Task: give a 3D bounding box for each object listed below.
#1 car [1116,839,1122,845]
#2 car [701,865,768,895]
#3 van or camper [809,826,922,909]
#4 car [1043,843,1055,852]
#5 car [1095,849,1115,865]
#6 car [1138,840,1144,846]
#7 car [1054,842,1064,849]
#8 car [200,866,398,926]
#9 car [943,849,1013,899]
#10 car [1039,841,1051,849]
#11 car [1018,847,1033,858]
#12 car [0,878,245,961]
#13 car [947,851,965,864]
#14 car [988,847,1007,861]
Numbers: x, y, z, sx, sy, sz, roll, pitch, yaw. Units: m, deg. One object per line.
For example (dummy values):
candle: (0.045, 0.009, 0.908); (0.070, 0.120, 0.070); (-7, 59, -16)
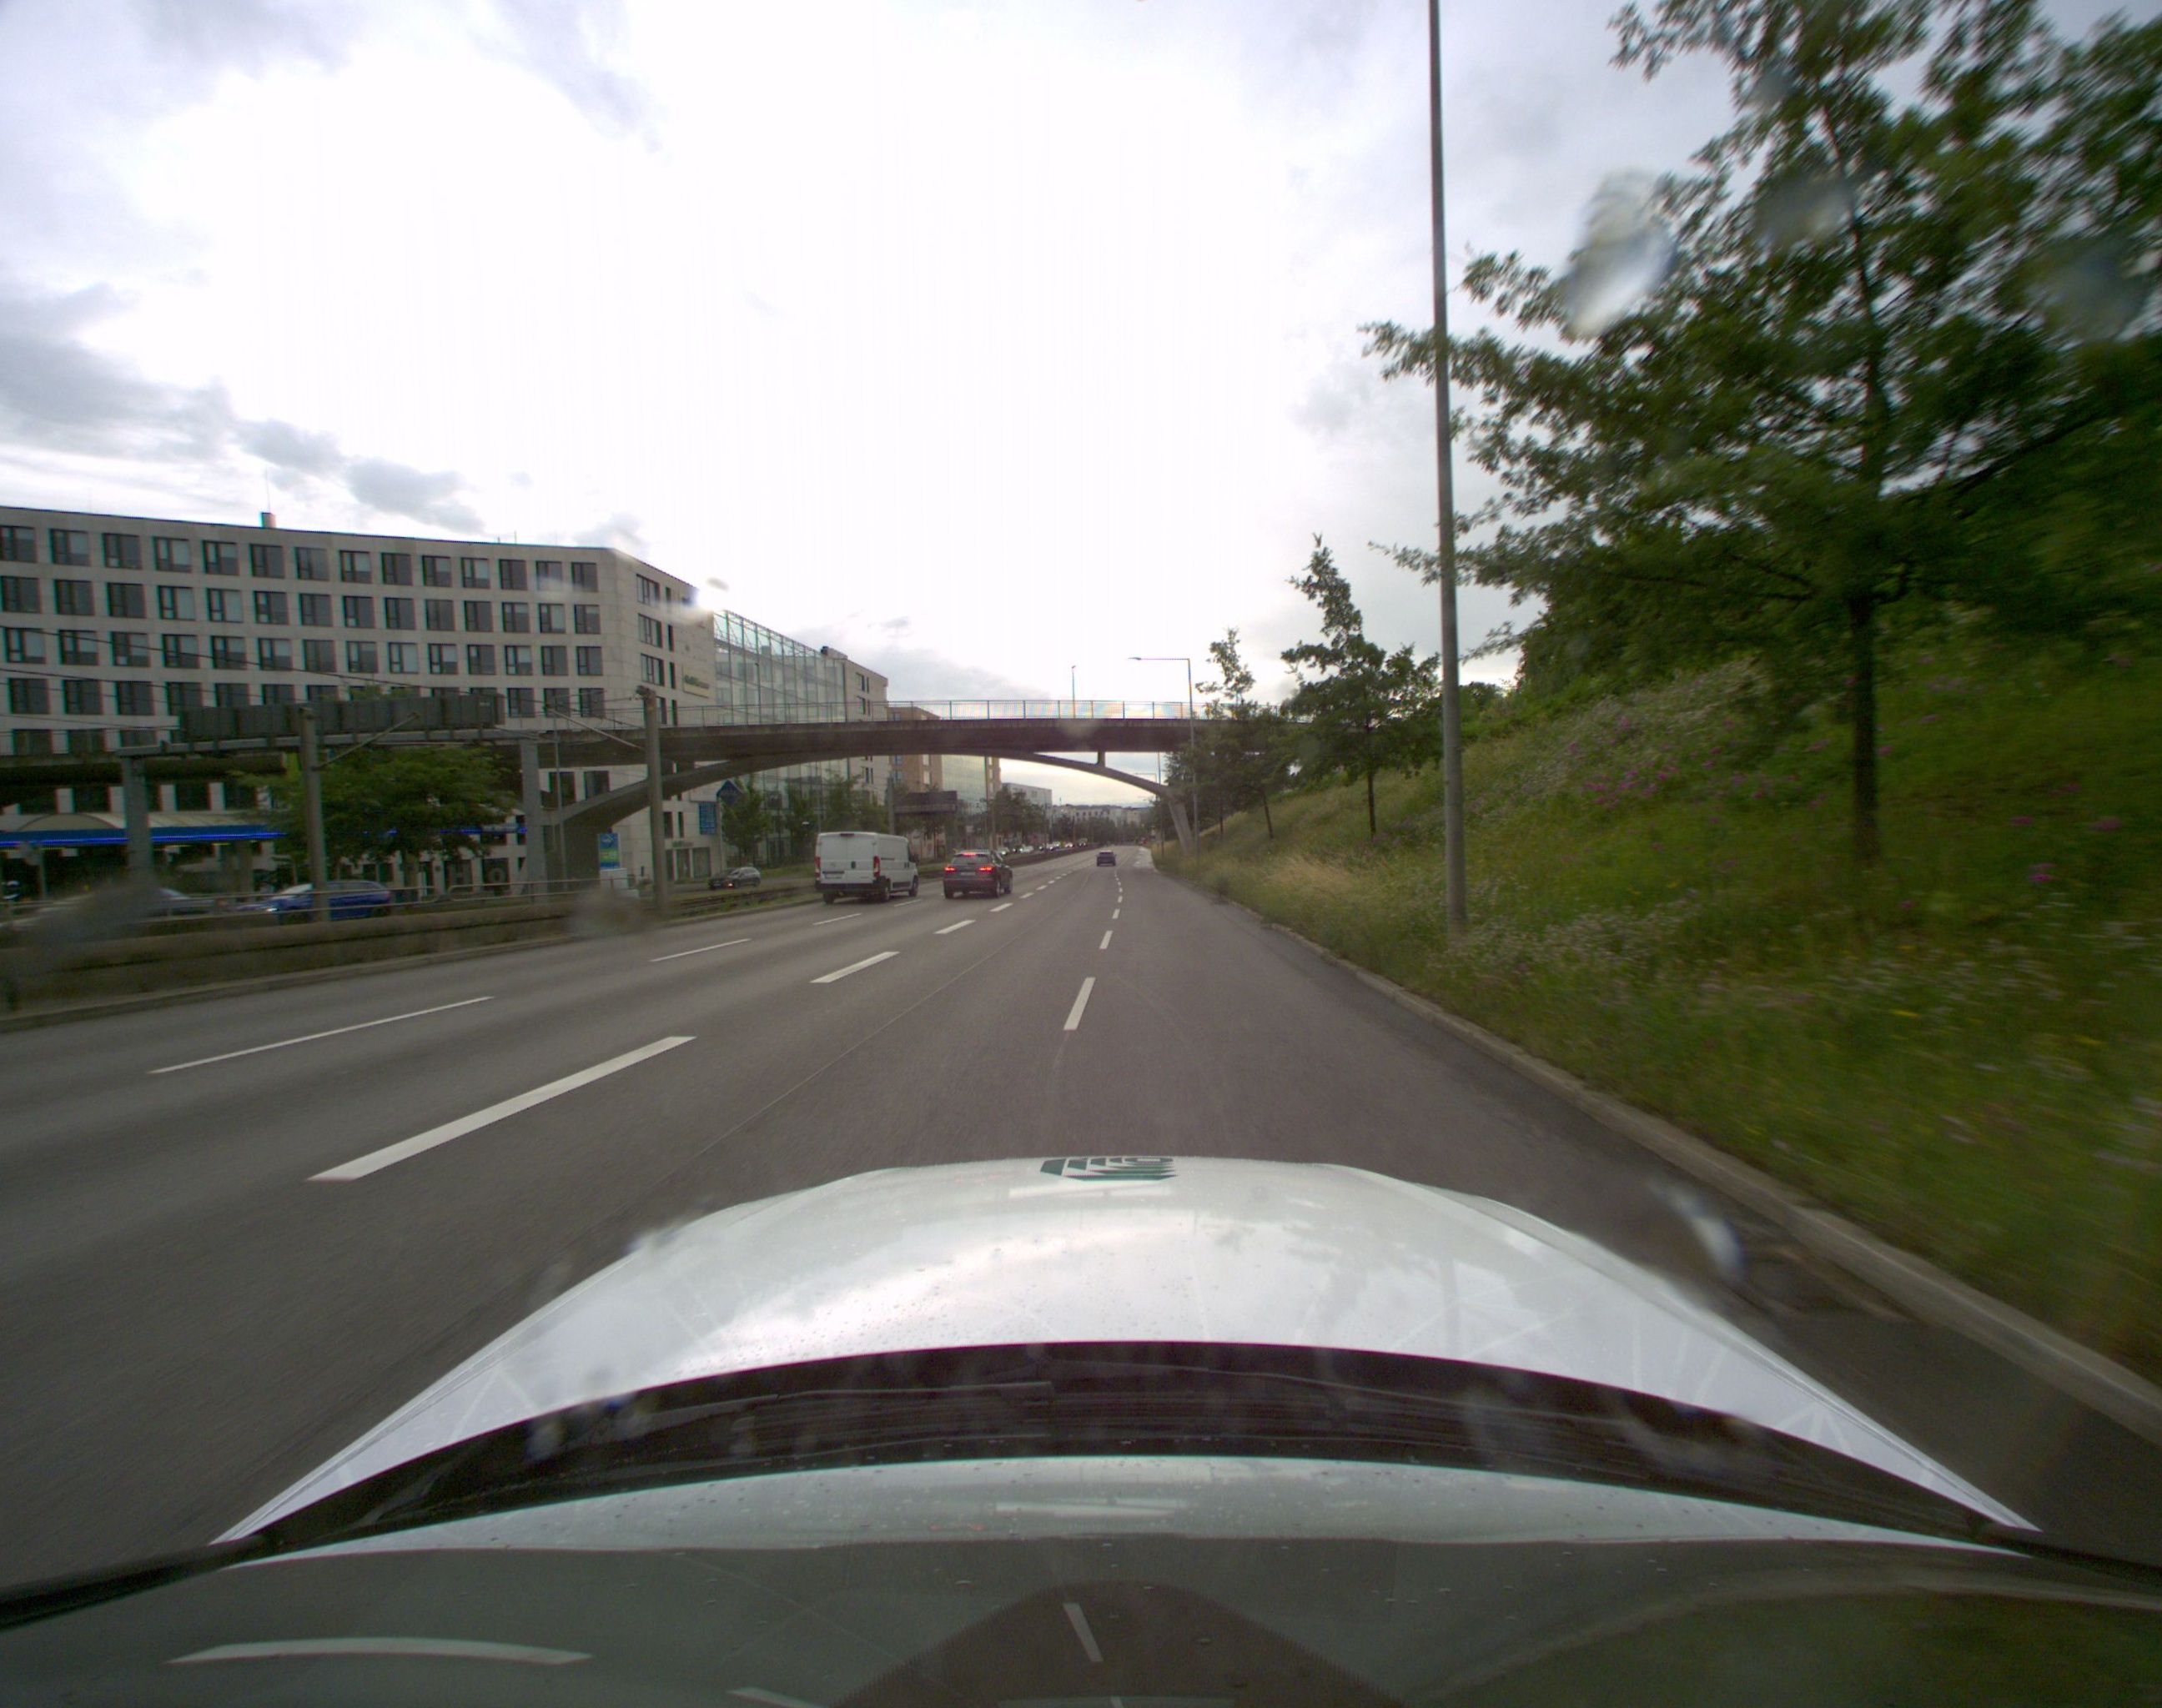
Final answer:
car: (11.782, -3.671, 252.239); (1.856, 1.749, 4.001); (0, 3, 1)
car: (-23.857, 1.752, 56.226); (1.979, 1.735, 4.266); (0, 3, 15)
van or camper: (-7.089, 0.305, 27.519); (2.195, 2.438, 5.534); (0, 3, 1)
car: (-6.751, -1.308, 171.266); (1.984, 1.735, 4.256); (0, 3, 5)
car: (2.363, 0.237, 78.668); (1.741, 1.420, 3.482); (-1, 1, 4)
car: (19.231, -3.497, 261.709); (1.856, 1.749, 4.001); (0, 3, 1)
car: (-5.442, -2.087, 203.770); (1.984, 1.735, 4.256); (0, 3, 5)
car: (-24.809, 1.274, 26.086); (1.984, 1.636, 4.254); (-1, 0, 5)
car: (-3.607, 0.658, 29.372); (1.744, 1.617, 4.750); (-2, 0, 2)
car: (-8.212, -2.007, 185.514); (1.984, 1.735, 4.256); (0, 3, 5)
car: (-9.853, -0.308, 145.619); (1.984, 1.735, 4.256); (0, 3, 5)
car: (-20.580, 1.322, 17.467); (1.511, 1.420, 3.482); (-2, 1, 4)
car: (-20.818, 0.561, 136.073); (1.984, 2.013, 4.006); (-1, 0, 5)
car: (-12.431, -0.021, 121.426); (1.984, 2.013, 4.006); (-1, 0, 5)
